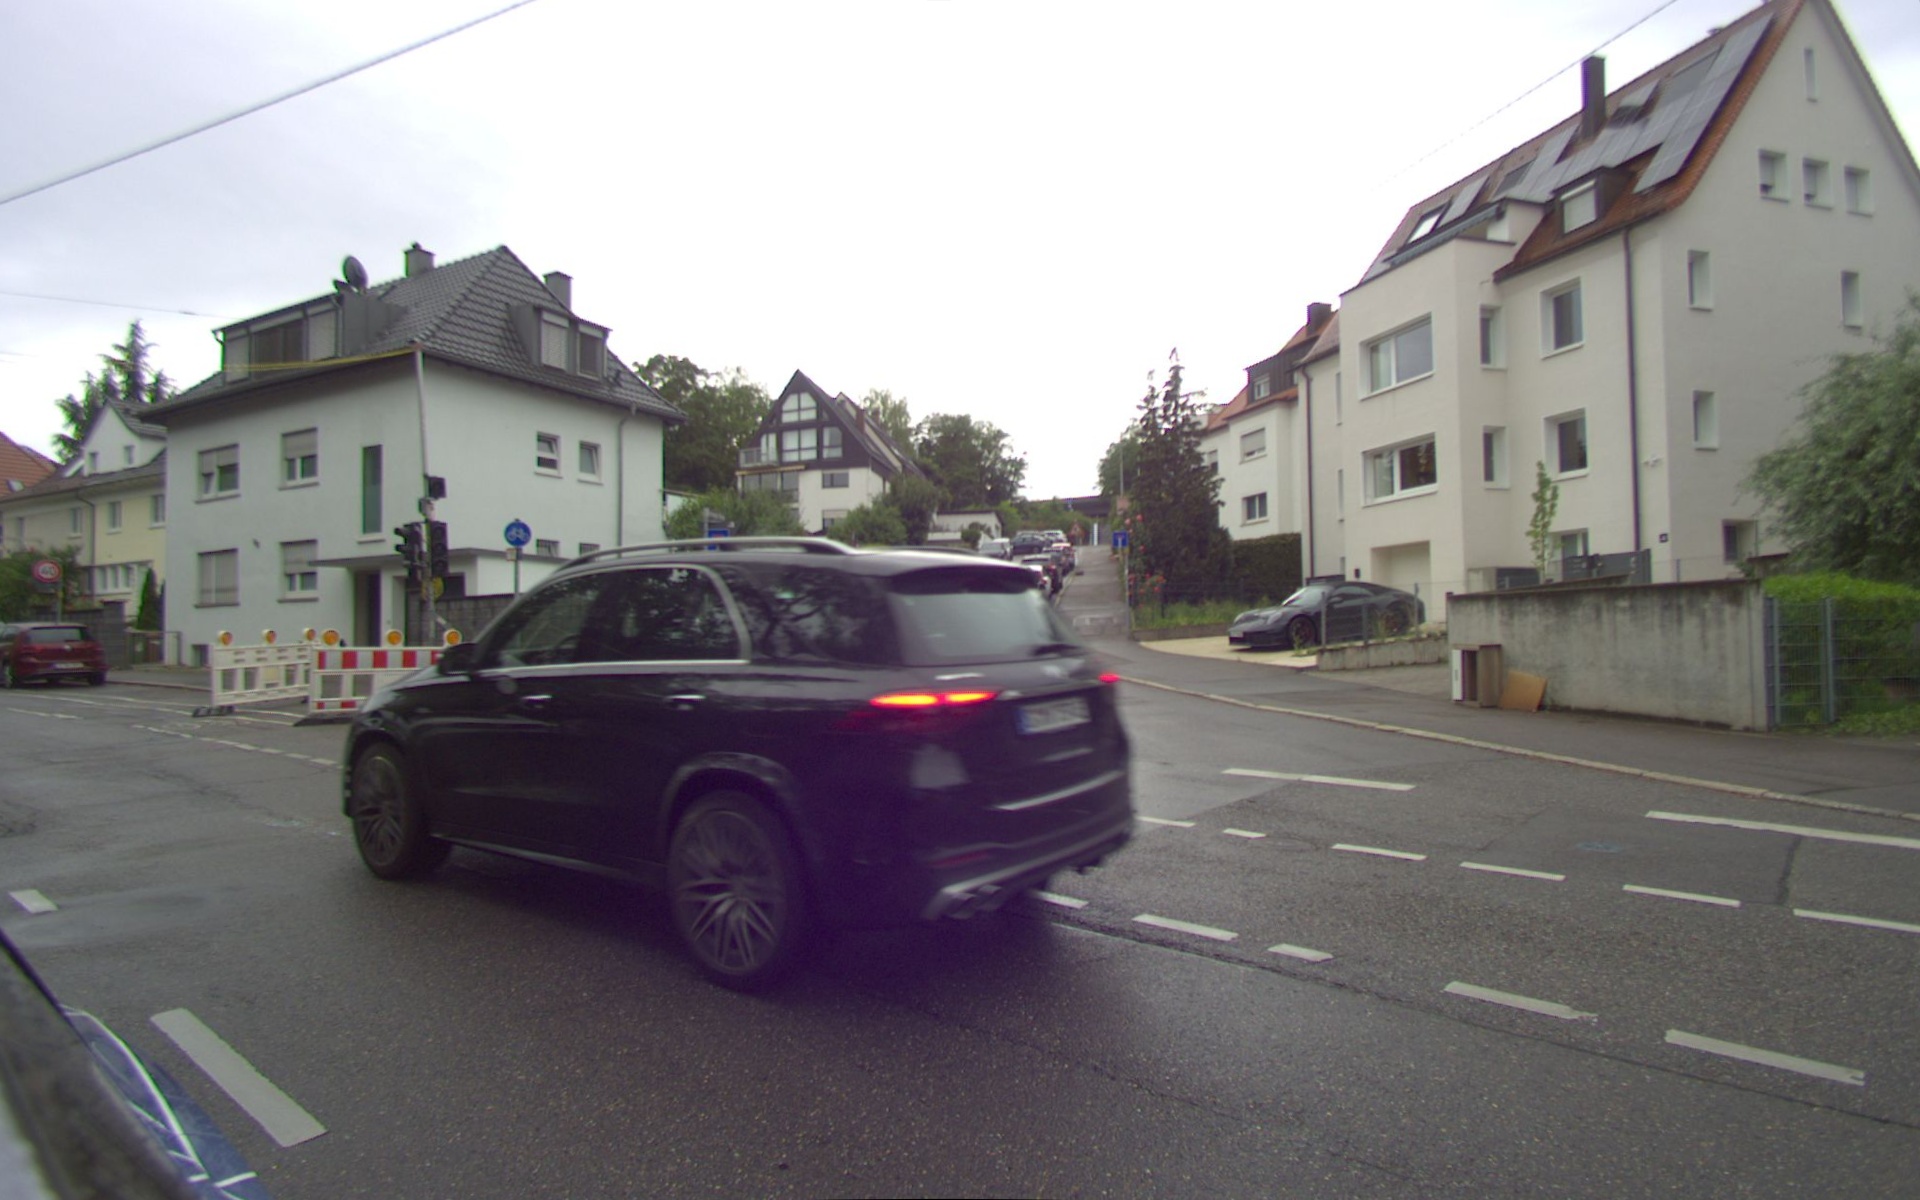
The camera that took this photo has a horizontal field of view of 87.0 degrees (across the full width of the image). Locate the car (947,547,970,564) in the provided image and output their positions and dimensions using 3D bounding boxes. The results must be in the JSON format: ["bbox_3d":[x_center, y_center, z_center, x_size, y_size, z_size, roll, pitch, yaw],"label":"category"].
[{"bbox_3d":[-0.090,-3.259,74.024,1.559,1.220,3.650,-1,3,2],"label":"car"}]

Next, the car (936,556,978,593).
[{"bbox_3d":[-0.124,-1.362,52.468,1.623,1.637,3.992,-1,5,8],"label":"car"}]

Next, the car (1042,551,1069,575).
[{"bbox_3d":[5.493,-2.142,58.114,1.274,1.325,2.984,-1,3,10],"label":"car"}]

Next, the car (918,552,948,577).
[{"bbox_3d":[-1.835,-2.419,69.796,1.793,1.566,4.009,-1,0,3],"label":"car"}]

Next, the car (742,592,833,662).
[{"bbox_3d":[-4.366,0.625,26.159,1.827,1.473,4.124,-1,3,-3],"label":"car"}]

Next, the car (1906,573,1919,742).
[{"bbox_3d":[10.591,0.427,8.551,3.934,1.497,1.780,-2,-1,-12],"label":"car"}]

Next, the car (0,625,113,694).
[{"bbox_3d":[-21.481,1.330,23.387,3.833,1.443,1.768,-1,-1,30],"label":"car"}]

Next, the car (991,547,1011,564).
[{"bbox_3d":[3.050,-3.326,74.714,1.292,1.206,2.980,-1,3,5],"label":"car"}]

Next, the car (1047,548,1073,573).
[{"bbox_3d":[6.229,-2.446,62.850,1.488,1.373,3.465,-1,0,8],"label":"car"}]

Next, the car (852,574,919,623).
[{"bbox_3d":[-2.669,-0.084,37.090,1.738,1.481,3.940,-1,4,6],"label":"car"}]

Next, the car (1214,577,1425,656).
[{"bbox_3d":[7.694,0.337,21.774,3.942,1.290,1.613,-5,1,-13],"label":"car"}]

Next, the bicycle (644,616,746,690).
[{"bbox_3d":[-4.799,0.932,18.461,0.508,1.249,1.984,1,0,32],"label":"bicycle"}]

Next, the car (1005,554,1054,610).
[{"bbox_3d":[2.809,-0.752,40.327,1.686,1.843,4.194,-1,6,7],"label":"car"}]

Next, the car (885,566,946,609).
[{"bbox_3d":[-1.817,-0.553,42.963,1.903,1.448,4.100,-1,5,7],"label":"car"}]

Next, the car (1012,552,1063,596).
[{"bbox_3d":[3.511,-1.192,45.379,1.823,1.699,4.039,-1,5,11],"label":"car"}]

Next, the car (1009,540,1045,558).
[{"bbox_3d":[5.546,-4.197,83.657,2.914,1.328,1.282,-1,0,4],"label":"car"}]

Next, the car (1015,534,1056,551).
[{"bbox_3d":[7.386,-5.589,98.791,3.922,1.528,1.748,-1,0,6],"label":"car"}]

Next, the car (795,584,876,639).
[{"bbox_3d":[-3.839,0.319,31.821,1.702,1.397,3.900,-1,4,6],"label":"car"}]

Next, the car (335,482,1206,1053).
[{"bbox_3d":[-1.256,0.587,5.310,4.546,1.761,1.960,-2,-2,37],"label":"car"}]

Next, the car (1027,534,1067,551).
[{"bbox_3d":[8.934,-5.899,103.916,3.782,1.529,1.664,-1,-1,15],"label":"car"}]

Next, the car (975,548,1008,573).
[{"bbox_3d":[2.188,-2.670,68.889,1.770,1.531,4.016,-1,0,9],"label":"car"}]

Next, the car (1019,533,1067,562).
[{"bbox_3d":[7.196,-4.561,87.645,3.954,2.028,1.995,-5,-1,8],"label":"car"}]

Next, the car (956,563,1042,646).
[{"bbox_3d":[1.230,0.052,29.328,1.978,2.028,4.482,-1,4,9],"label":"car"}]

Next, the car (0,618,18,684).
[{"bbox_3d":[-26.166,1.313,25.779,4.131,1.653,1.782,-1,-1,25],"label":"car"}]
